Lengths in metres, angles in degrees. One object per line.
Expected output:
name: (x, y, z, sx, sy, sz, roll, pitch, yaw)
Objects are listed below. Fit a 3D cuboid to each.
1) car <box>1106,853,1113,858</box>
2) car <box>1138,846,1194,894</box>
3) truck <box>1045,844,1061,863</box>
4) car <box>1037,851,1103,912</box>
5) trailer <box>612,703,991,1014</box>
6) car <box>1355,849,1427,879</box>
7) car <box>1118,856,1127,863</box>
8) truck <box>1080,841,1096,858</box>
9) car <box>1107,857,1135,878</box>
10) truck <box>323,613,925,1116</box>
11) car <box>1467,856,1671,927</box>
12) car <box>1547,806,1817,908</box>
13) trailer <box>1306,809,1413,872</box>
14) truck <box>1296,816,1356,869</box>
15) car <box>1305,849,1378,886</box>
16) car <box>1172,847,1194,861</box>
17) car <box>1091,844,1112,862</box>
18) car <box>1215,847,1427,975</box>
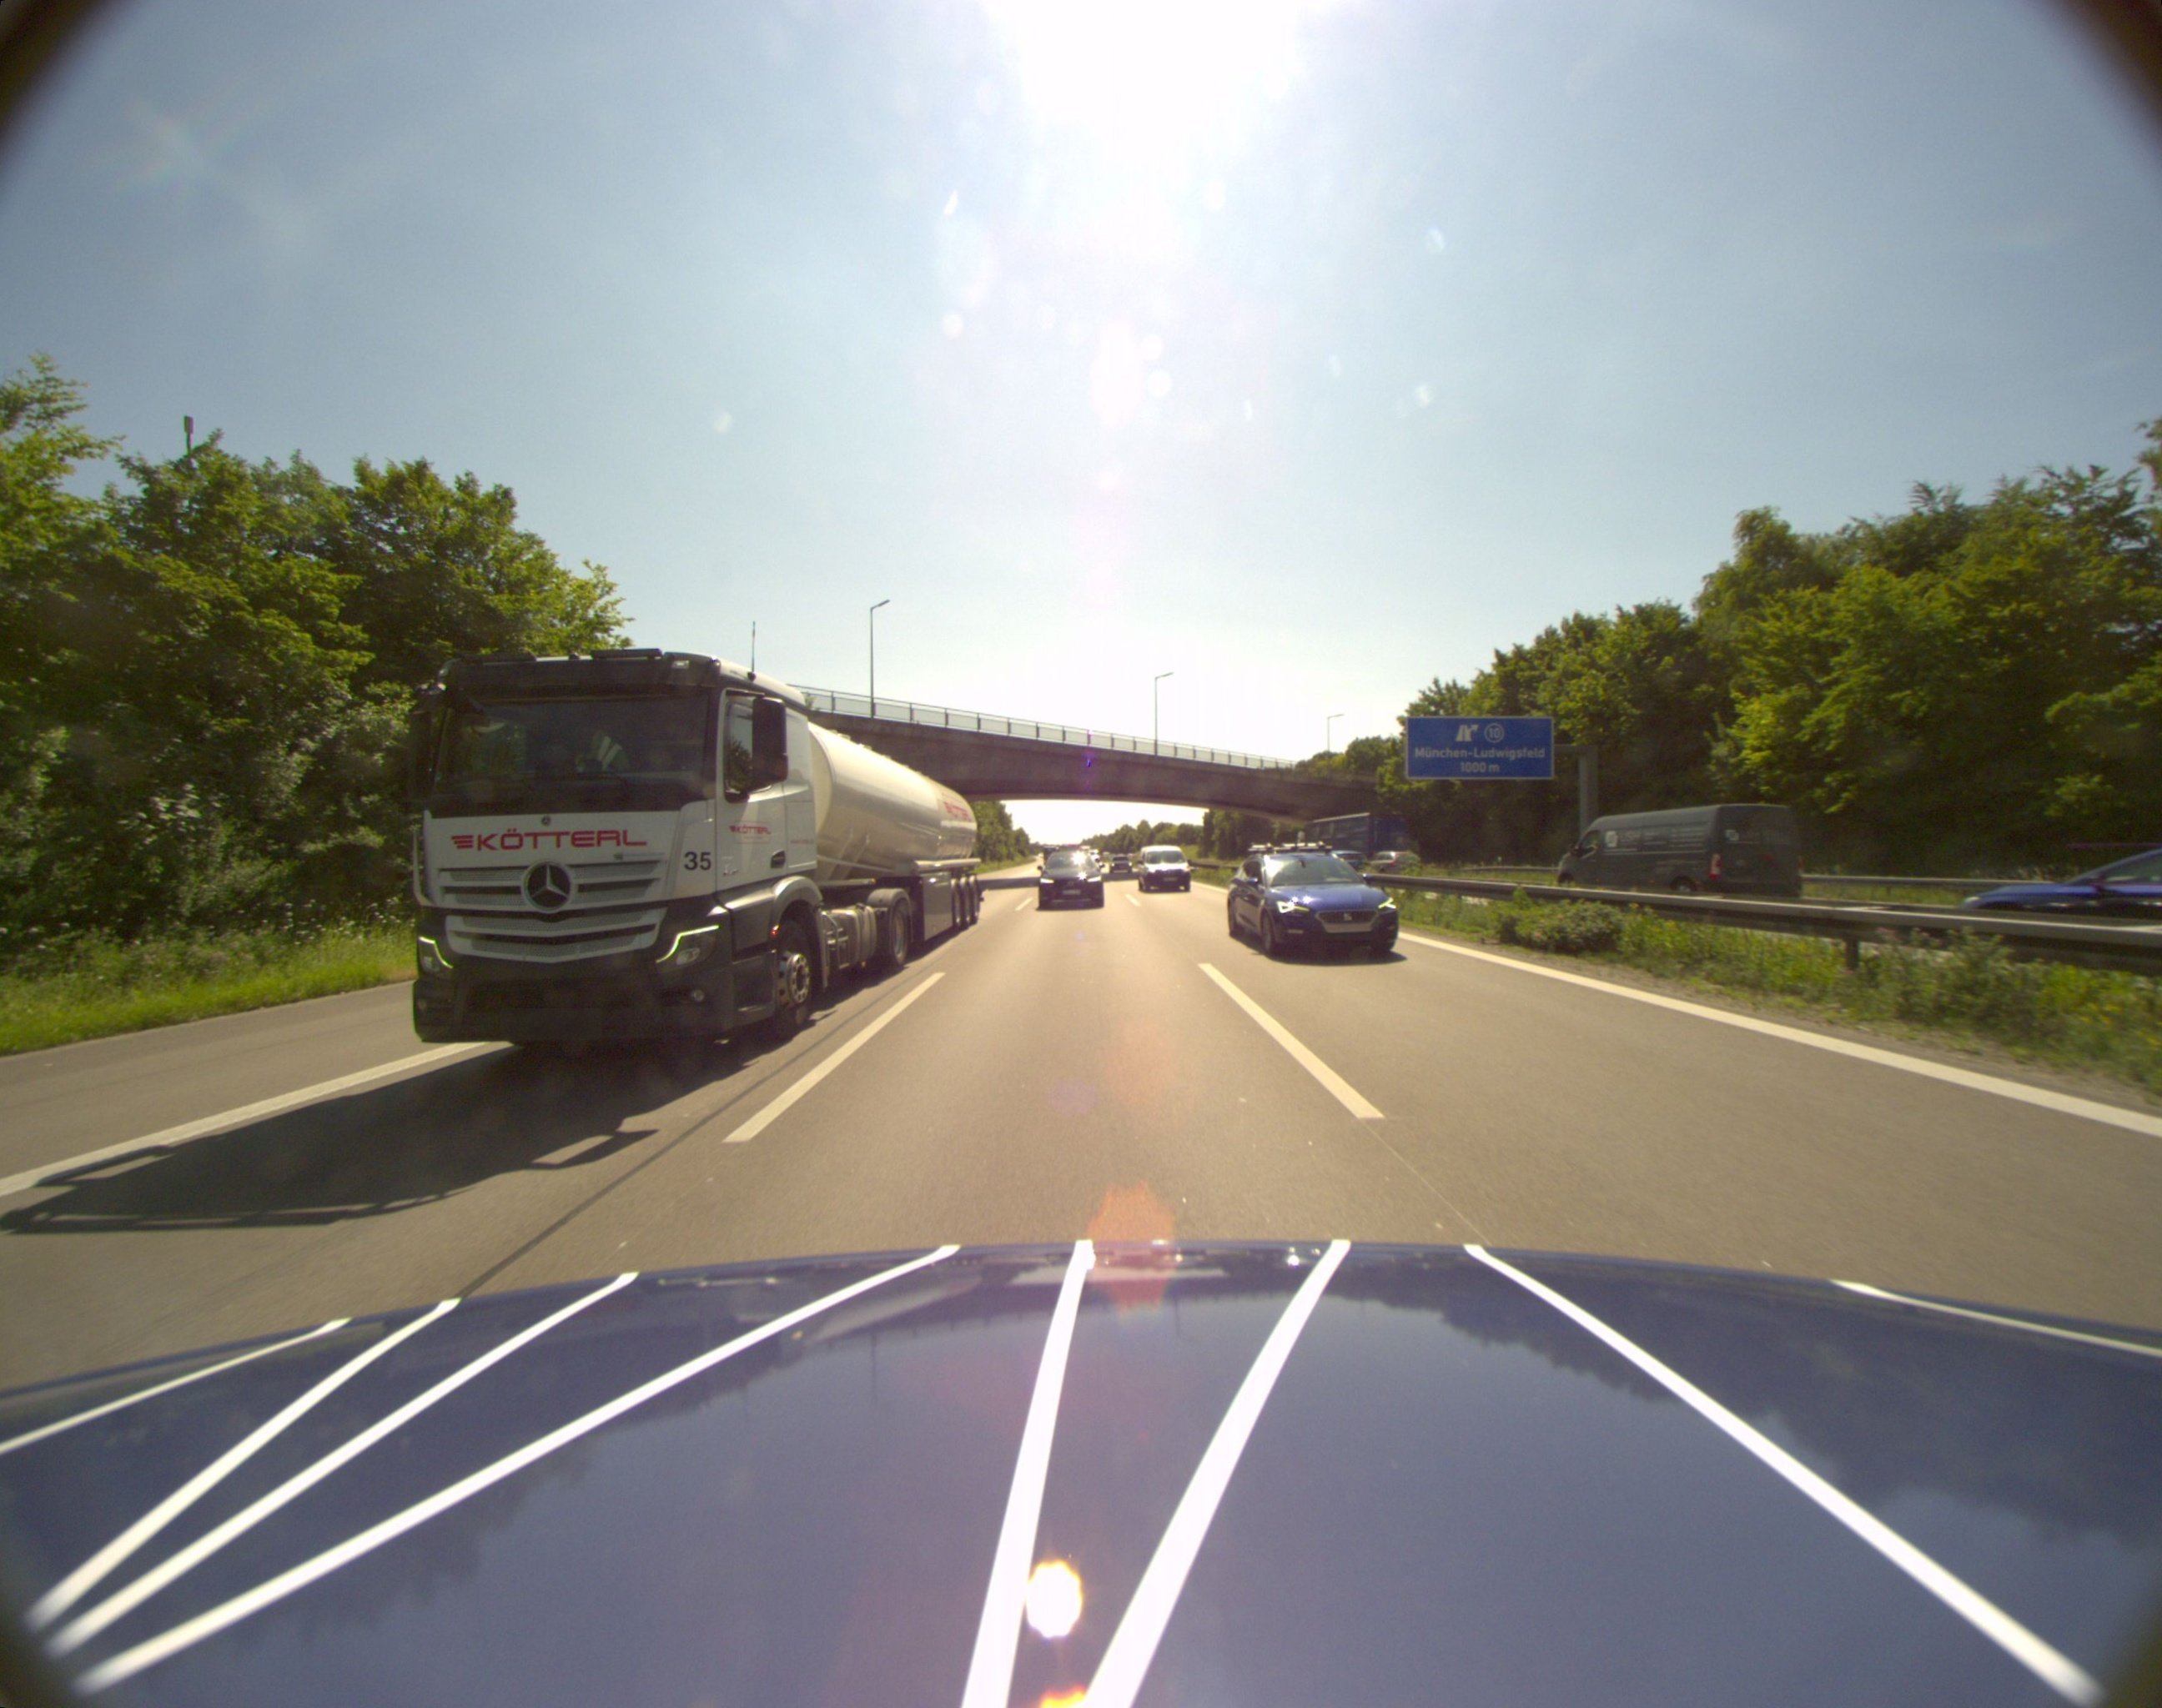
car: (8.684, 0.482, 230.667, 1.801, 1.657, 4.128, -1, 0, 0)
car: (3.325, 0.589, 30.513, 1.870, 1.713, 3.980, -1, 1, 1)
truck: (-5.199, -0.096, 140.083, 2.966, 3.388, 8.045, 0, 0, -2)
car: (-0.357, 0.776, 23.387, 1.812, 1.648, 3.999, -2, 0, -2)
trailer: (-3.779, 0.028, 14.057, 2.655, 3.370, 11.151, -2, 0, 1)
car: (15.534, 0.455, 38.308, 1.729, 1.367, 4.544, -1, 0, -1)
car: (9.688, 1.204, 178.698, 1.865, 1.518, 4.750, -1, 0, -1)
truck: (1.582, -0.961, 172.590, 3.243, 3.684, 10.933, -1, 0, -1)
car: (3.315, 1.086, 63.817, 1.999, 1.540, 3.998, -1, 1, -1)
truck: (-3.789, 0.065, 8.457, 2.645, 3.355, 6.486, -2, 0, 0)
car: (10.910, 0.749, 17.453, 1.729, 1.367, 4.544, -1, 0, -1)
car: (15.284, 0.004, 20.060, 1.998, 2.222, 6.516, -1, 1, 0)
trailer: (19.840, -0.887, 55.395, 2.792, 4.017, 13.546, 1, 0, 0)
truck: (19.809, -0.876, 61.728, 2.792, 4.037, 6.209, 1, 0, 0)
car: (11.523, 0.566, 33.854, 1.909, 1.526, 4.000, -1, 0, 1)
car: (11.750, -0.012, 87.956, 1.886, 1.475, 4.434, -1, 0, 0)
car: (3.592, -0.246, 134.033, 3.243, 3.094, 7.603, -1, 0, -1)
car: (3.521, 0.742, 12.065, 1.905, 1.616, 4.240, -2, 0, -1)
